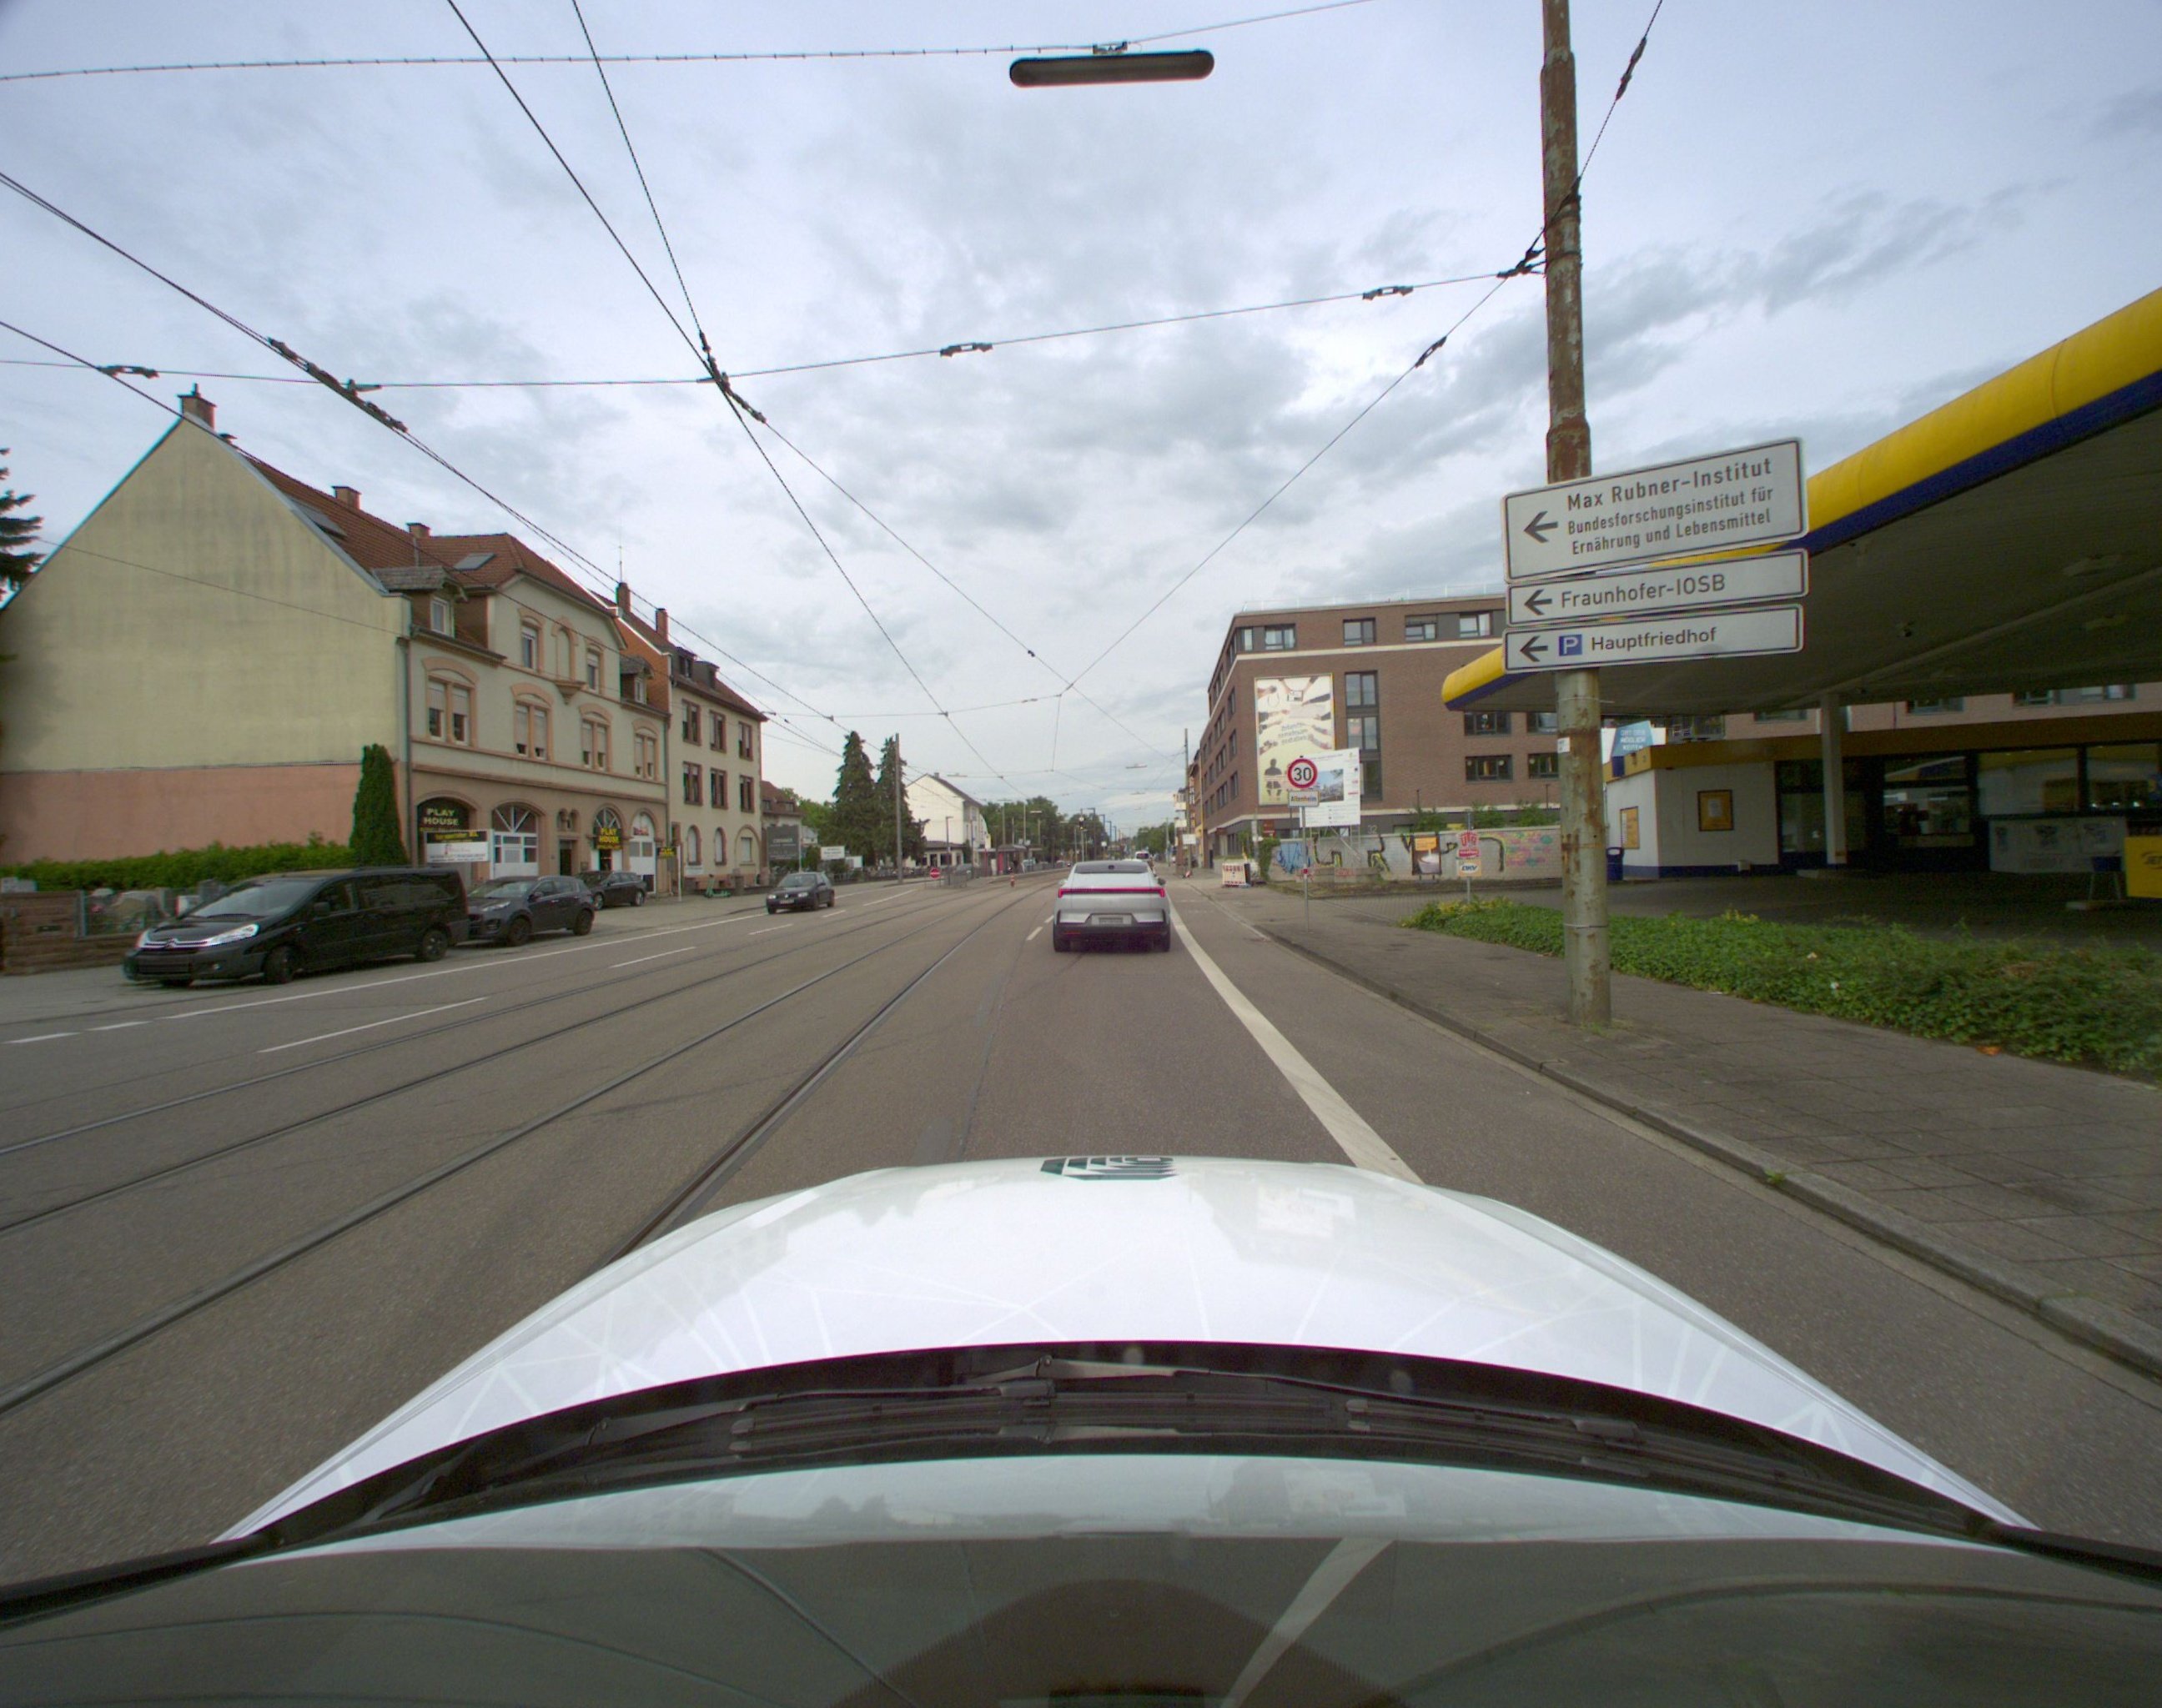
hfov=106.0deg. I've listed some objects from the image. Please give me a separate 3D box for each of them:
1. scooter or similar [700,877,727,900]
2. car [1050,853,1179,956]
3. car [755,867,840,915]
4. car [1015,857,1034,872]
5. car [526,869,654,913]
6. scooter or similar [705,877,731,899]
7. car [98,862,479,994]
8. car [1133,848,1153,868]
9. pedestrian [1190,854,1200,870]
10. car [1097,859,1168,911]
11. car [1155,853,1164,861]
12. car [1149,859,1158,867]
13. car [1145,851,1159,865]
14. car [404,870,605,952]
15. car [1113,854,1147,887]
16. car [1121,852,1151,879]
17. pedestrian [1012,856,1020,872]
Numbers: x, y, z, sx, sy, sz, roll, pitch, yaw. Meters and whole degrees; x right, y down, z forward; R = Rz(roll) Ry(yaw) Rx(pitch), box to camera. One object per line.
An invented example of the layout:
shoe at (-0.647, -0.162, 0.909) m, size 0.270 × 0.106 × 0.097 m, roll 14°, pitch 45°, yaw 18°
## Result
scooter or similar at (-18.427, 1.706, 40.875) m, size 1.181 × 1.102 × 0.523 m, roll 0°, pitch -1°, yaw -29°
car at (0.544, 0.820, 14.768) m, size 1.993 × 1.581 × 3.999 m, roll -1°, pitch -1°, yaw 0°
car at (-10.401, 1.304, 30.149) m, size 1.786 × 1.530 × 4.136 m, roll -4°, pitch -1°, yaw -3°
car at (-7.688, 1.436, 111.560) m, size 1.876 × 1.989 × 4.529 m, roll -3°, pitch -1°, yaw 3°
car at (-18.843, 1.375, 31.583) m, size 1.987 × 1.493 × 4.901 m, roll -1°, pitch -1°, yaw 0°
scooter or similar at (-18.602, 1.719, 41.694) m, size 1.181 × 1.102 × 0.523 m, roll 0°, pitch -1°, yaw -29°
car at (-14.022, 1.159, 15.050) m, size 1.981 × 2.014 × 5.182 m, roll 0°, pitch -1°, yaw -1°
car at (7.718, 0.565, 102.341) m, size 2.218 × 2.402 × 5.124 m, roll -1°, pitch -1°, yaw 1°
pedestrian at (13.622, 0.918, 97.470) m, size 0.955 × 1.850 × 0.978 m, roll -4°, pitch 0°, yaw 10°
car at (1.611, 0.901, 25.618) m, size 1.985 × 1.420 × 4.004 m, roll -2°, pitch 0°, yaw 3°
car at (25.280, 0.875, 262.695) m, size 2.794 × 2.505 × 5.730 m, roll -1°, pitch -1°, yaw 5°
car at (18.128, 2.177, 204.646) m, size 1.986 × 2.014 × 4.001 m, roll -1°, pitch -1°, yaw 1°
car at (10.806, 0.590, 124.106) m, size 1.986 × 2.014 × 4.001 m, roll -1°, pitch -1°, yaw 1°
car at (-14.460, 1.345, 20.829) m, size 2.032 × 1.749 × 4.531 m, roll 0°, pitch 0°, yaw -2°
car at (2.661, 0.870, 43.633) m, size 1.673 × 1.687 × 3.829 m, roll -1°, pitch -1°, yaw 5°
car at (3.937, 0.805, 58.769) m, size 1.986 × 1.816 × 4.001 m, roll -3°, pitch 0°, yaw 1°
pedestrian at (-6.542, 1.008, 81.956) m, size 0.612 × 1.664 × 0.699 m, roll -1°, pitch -1°, yaw 8°
